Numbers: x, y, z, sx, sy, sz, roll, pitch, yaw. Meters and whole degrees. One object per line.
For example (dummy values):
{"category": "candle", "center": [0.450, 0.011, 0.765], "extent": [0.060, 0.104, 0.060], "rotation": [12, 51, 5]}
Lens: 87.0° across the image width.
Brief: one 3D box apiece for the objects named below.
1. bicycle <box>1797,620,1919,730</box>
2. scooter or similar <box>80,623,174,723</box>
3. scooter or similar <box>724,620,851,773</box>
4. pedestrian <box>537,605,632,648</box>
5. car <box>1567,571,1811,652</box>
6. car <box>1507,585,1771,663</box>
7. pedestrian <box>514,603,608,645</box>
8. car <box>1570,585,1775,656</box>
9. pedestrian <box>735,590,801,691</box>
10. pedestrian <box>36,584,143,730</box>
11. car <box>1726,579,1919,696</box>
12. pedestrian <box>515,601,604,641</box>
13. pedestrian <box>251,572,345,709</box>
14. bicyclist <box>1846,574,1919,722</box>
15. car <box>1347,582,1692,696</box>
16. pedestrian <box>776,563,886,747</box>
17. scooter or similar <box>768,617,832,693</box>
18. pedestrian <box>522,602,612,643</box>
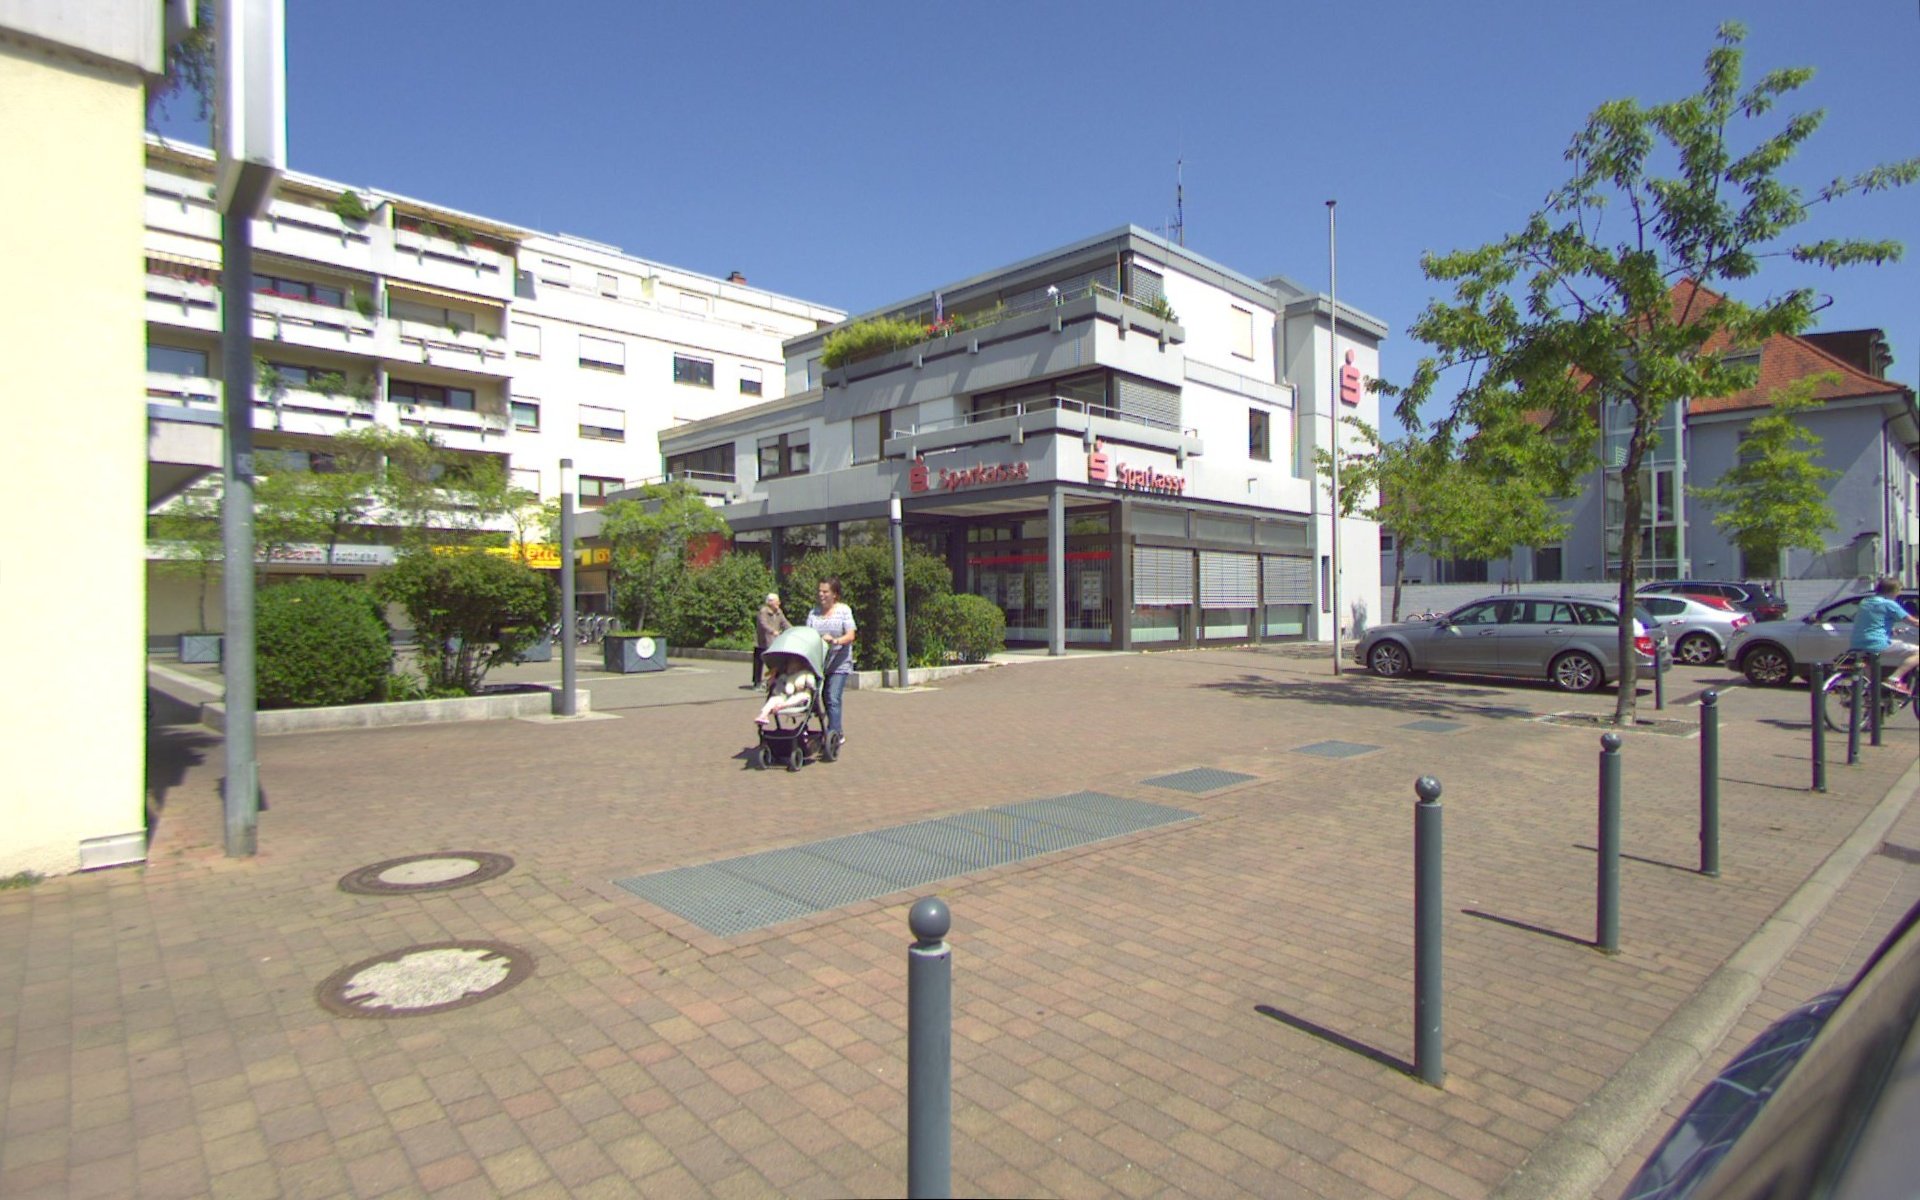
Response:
{"category": "bicycle", "center": [10.268, 0.803, 10.927], "extent": [1.860, 1.123, 0.676], "rotation": [1, 0, 2]}
{"category": "scooter or similar", "center": [-9.657, 0.828, 11.755], "extent": [0.578, 1.088, 0.807], "rotation": [0, -1, -17]}
{"category": "scooter or similar", "center": [-1.365, 0.734, 8.155], "extent": [0.619, 1.120, 1.038], "rotation": [-1, 0, 16]}
{"category": "pedestrian", "center": [-12.049, 0.817, 32.567], "extent": [0.982, 1.290, 2.736], "rotation": [-1, 0, 40]}
{"category": "car", "center": [18.153, 0.216, 25.360], "extent": [2.112, 1.793, 4.635], "rotation": [1, 1, -43]}
{"category": "car", "center": [14.666, 0.444, 22.037], "extent": [4.535, 1.458, 1.811], "rotation": [2, 1, 43]}
{"category": "pedestrian", "center": [-13.012, 0.772, 33.051], "extent": [0.982, 1.290, 2.736], "rotation": [-1, 0, 40]}
{"category": "car", "center": [16.626, 0.422, 23.703], "extent": [3.729, 1.470, 1.718], "rotation": [2, 1, 43]}
{"category": "pedestrian", "center": [-2.990, 0.612, 15.724], "extent": [0.808, 1.516, 0.659], "rotation": [-2, -1, 43]}
{"category": "pedestrian", "center": [-9.422, 0.587, 10.980], "extent": [0.606, 1.516, 0.813], "rotation": [0, 0, -17]}
{"category": "car", "center": [14.169, 0.514, 15.085], "extent": [1.819, 1.593, 4.007], "rotation": [-2, 2, -24]}
{"category": "pedestrian", "center": [-13.777, 0.708, 34.904], "extent": [0.982, 1.290, 2.736], "rotation": [-1, 0, 40]}
{"category": "pedestrian", "center": [-8.853, 0.520, 13.551], "extent": [0.700, 1.758, 0.890], "rotation": [-1, -1, 39]}
{"category": "bicyclist", "center": [10.249, 0.498, 10.936], "extent": [0.747, 1.546, 0.671], "rotation": [0, 0, 1]}
{"category": "car", "center": [8.920, 0.507, 16.399], "extent": [4.575, 1.531, 1.887], "rotation": [2, 2, 43]}
{"category": "pedestrian", "center": [-1.125, 0.467, 8.964], "extent": [0.696, 1.541, 0.797], "rotation": [-1, -1, 17]}
{"category": "scooter or similar", "center": [-2.406, 0.800, 15.187], "extent": [0.802, 1.088, 0.582], "rotation": [-1, -1, 42]}
{"category": "pedestrian", "center": [-13.260, 0.741, 34.229], "extent": [0.982, 1.290, 2.736], "rotation": [-1, 0, 40]}
